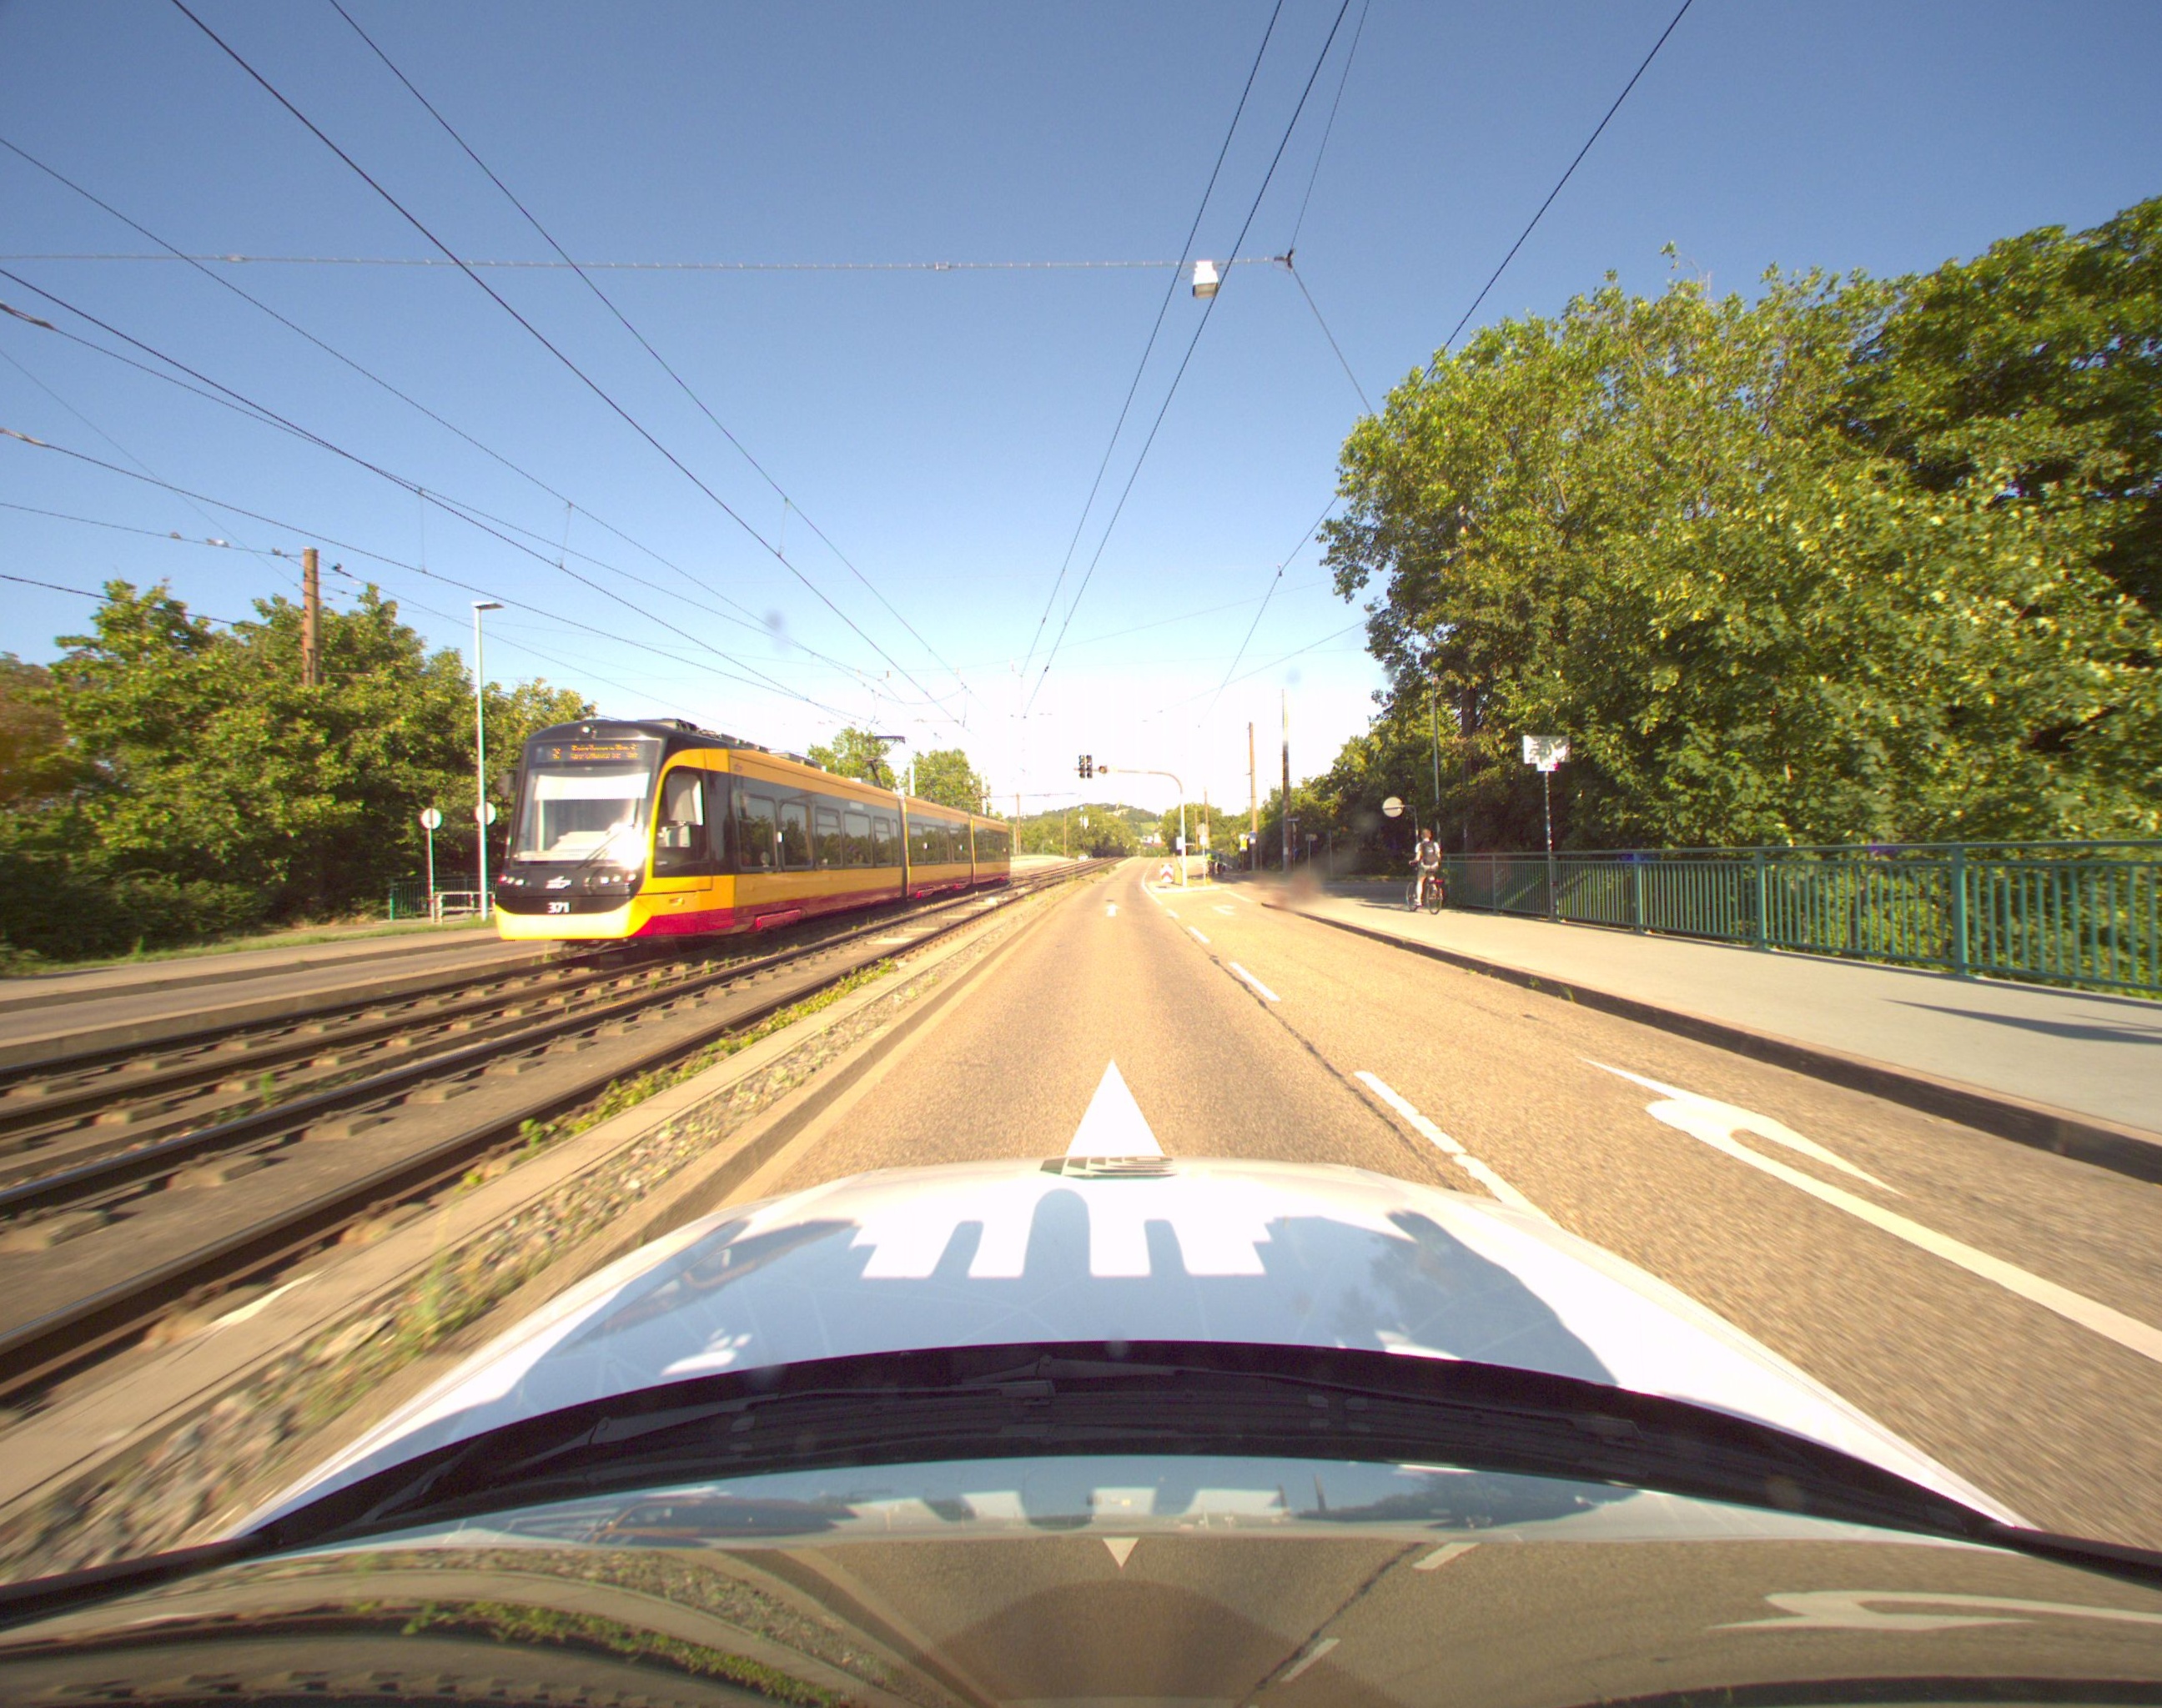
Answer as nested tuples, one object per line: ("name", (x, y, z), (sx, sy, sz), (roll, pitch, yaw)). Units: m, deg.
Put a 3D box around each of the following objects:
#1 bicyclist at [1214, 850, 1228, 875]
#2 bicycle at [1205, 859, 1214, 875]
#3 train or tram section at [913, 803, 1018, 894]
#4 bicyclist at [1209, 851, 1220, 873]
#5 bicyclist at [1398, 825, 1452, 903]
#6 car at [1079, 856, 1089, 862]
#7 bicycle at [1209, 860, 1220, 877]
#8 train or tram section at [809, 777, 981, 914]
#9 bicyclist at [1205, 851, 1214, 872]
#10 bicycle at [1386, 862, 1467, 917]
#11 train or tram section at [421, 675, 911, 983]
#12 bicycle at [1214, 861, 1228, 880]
("bicyclist", (8.893, 0.561, 51.792), (0.808, 1.562, 0.898), (-1, 1, 6))
("bicycle", (9.494, 0.951, 60.226), (0.621, 1.122, 2.266), (-1, 0, 10))
("train or tram section", (-5.476, -0.208, 41.550), (2.966, 3.901, 12.709), (-1, 0, 2))
("bicyclist", (9.398, 0.562, 57.354), (0.622, 1.592, 0.932), (-1, -1, 6))
("bicyclist", (7.734, 0.214, 18.363), (0.728, 1.689, 1.202), (-1, -1, 2))
("car", (0.643, 1.050, 171.388), (1.675, 1.356, 4.928), (-1, 0, 6))
("bicycle", (9.343, 0.999, 57.124), (0.622, 1.122, 2.045), (-1, 0, 6))
("train or tram section", (-6.102, -0.222, 29.375), (2.964, 3.901, 11.671), (-1, 0, 2))
("bicyclist", (9.483, 0.569, 60.257), (0.621, 1.508, 1.009), (-1, 0, 10))
("bicycle", (7.730, 0.751, 18.386), (0.728, 1.122, 2.743), (-1, 0, 2))
("train or tram section", (-6.701, -0.296, 16.988), (2.992, 3.901, 13.088), (-1, 0, 2))
("bicycle", (8.912, 1.028, 51.814), (0.680, 1.122, 2.220), (-1, 1, 6))
